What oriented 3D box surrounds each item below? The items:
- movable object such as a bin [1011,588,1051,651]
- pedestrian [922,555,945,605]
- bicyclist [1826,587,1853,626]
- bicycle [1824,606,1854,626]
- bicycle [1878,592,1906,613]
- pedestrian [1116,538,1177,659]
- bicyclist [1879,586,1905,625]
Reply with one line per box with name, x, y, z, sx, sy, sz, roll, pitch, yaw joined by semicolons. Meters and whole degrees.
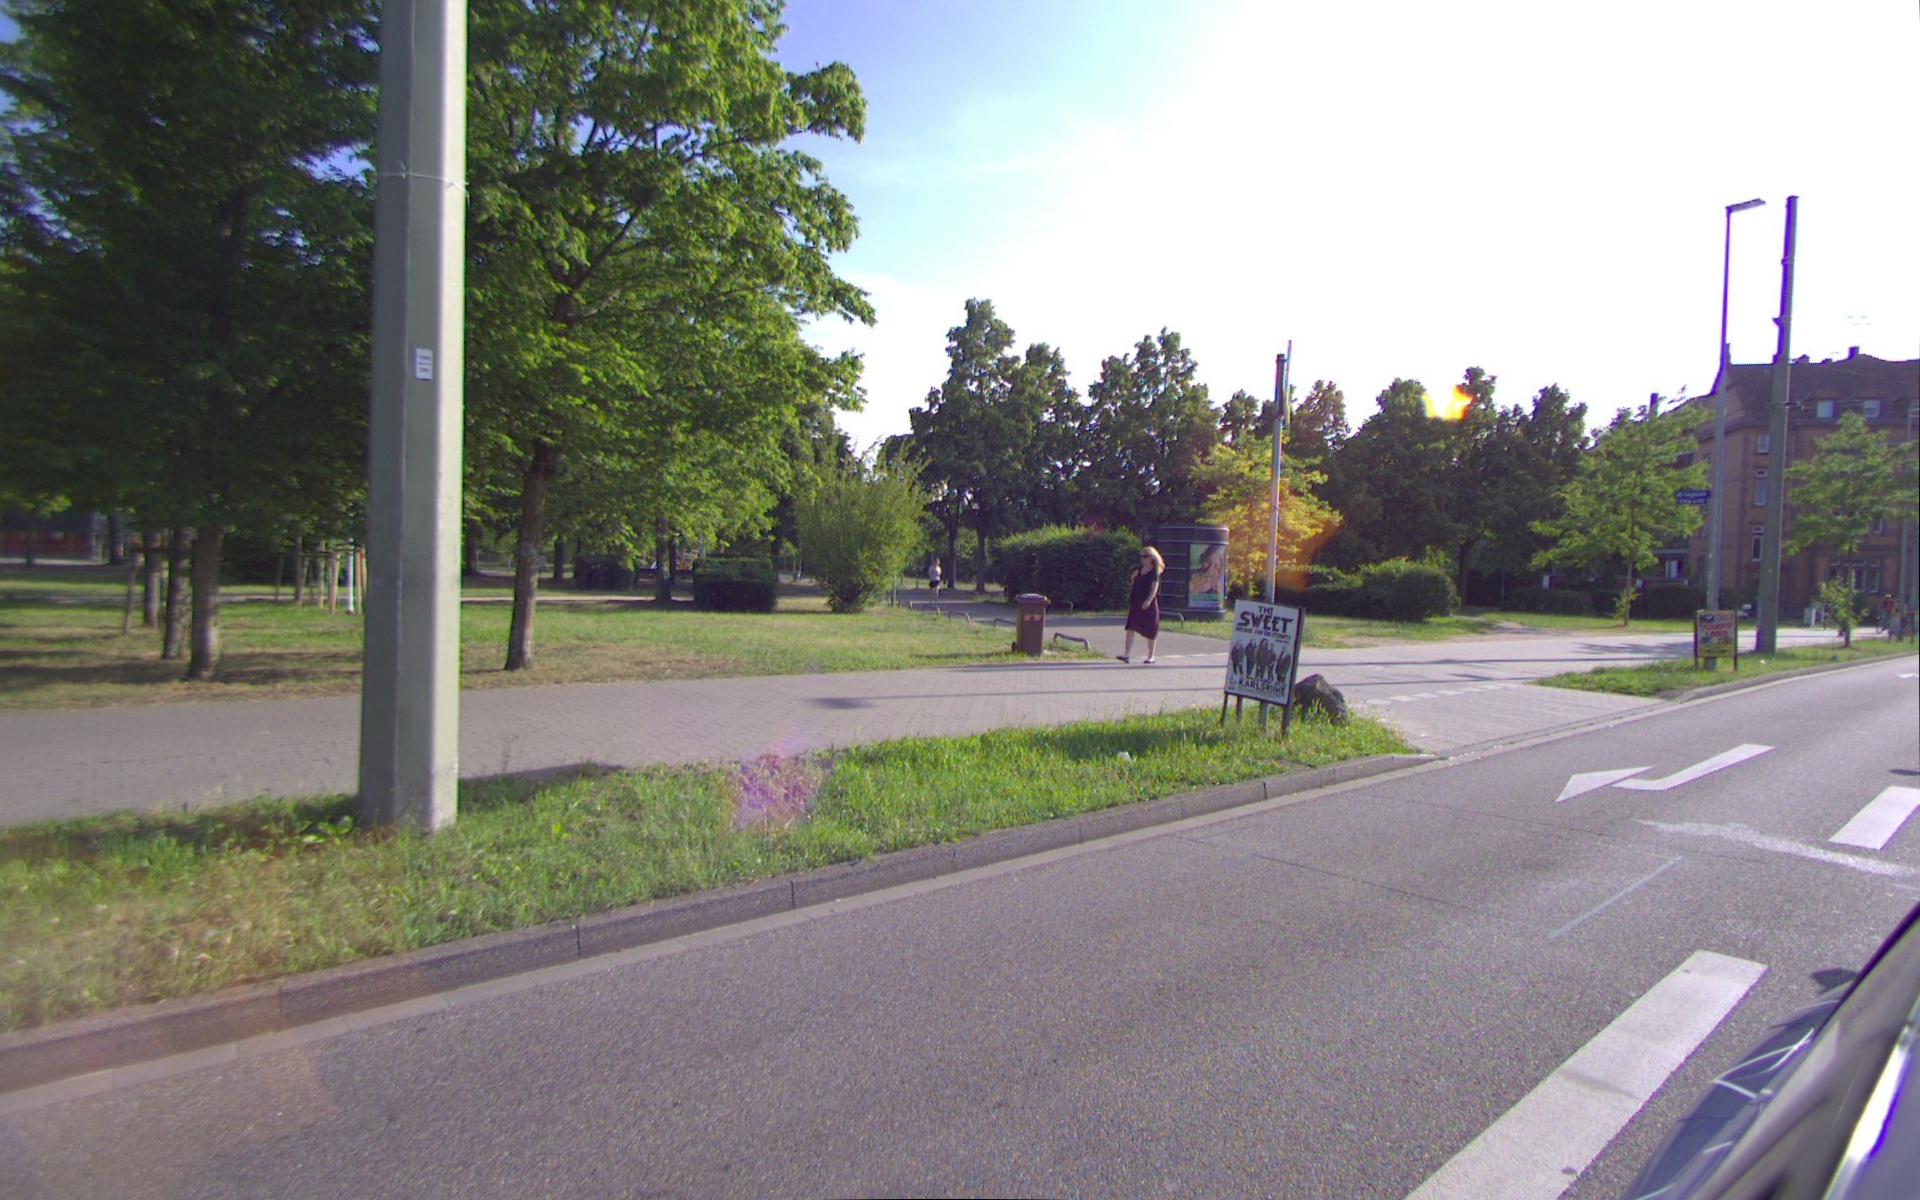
movable object such as a bin;1.070;0.285;15.327;0.514;0.915;0.504;2;1;-2
pedestrian;-0.910;-0.696;34.558;0.609;1.671;0.664;1;1;-16
bicyclist;42.167;0.318;48.508;1.098;1.795;0.754;1;2;-39
bicycle;42.154;0.747;48.516;2.057;0.929;0.740;0;2;-39
bicycle;43.677;0.108;47.433;2.058;0.929;0.739;0;2;-42
pedestrian;2.747;-0.033;14.932;0.651;1.722;0.558;1;2;-41
bicyclist;43.700;0.247;47.462;0.998;1.795;0.730;0;2;-42
